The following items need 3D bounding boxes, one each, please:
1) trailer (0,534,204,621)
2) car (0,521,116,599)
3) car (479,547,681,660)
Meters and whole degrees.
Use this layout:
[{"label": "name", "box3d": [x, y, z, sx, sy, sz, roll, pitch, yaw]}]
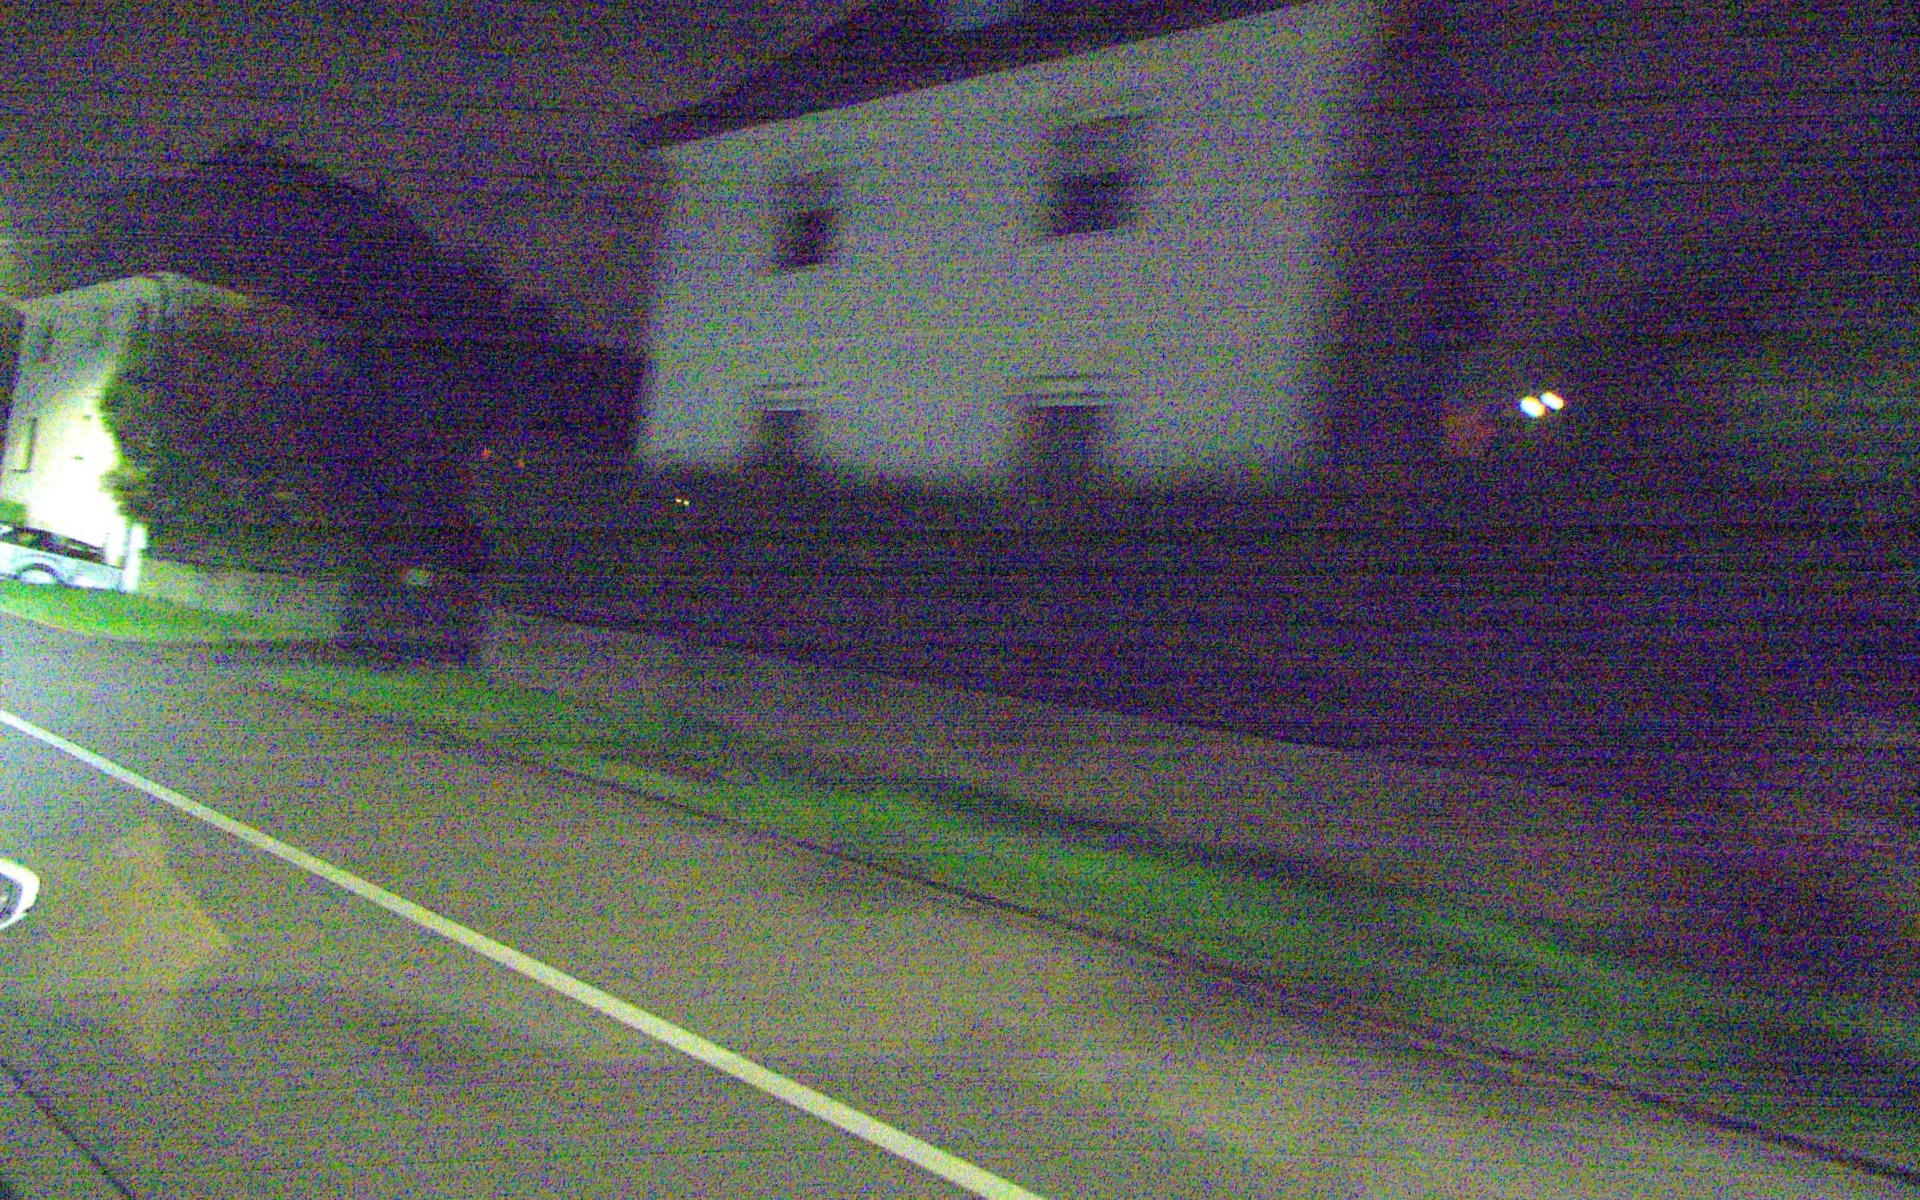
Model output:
[{"label": "trailer", "box3d": [-15.975, -0.475, 17.934, 1.922, 1.012, 3.445, 6, -6, 32]}, {"label": "car", "box3d": [-19.114, -0.962, 19.773, 1.695, 1.244, 3.403, 7, -4, 30]}, {"label": "car", "box3d": [-9.043, 0.059, 23.859, 4.431, 2.036, 1.998, 7, -3, 32]}]
